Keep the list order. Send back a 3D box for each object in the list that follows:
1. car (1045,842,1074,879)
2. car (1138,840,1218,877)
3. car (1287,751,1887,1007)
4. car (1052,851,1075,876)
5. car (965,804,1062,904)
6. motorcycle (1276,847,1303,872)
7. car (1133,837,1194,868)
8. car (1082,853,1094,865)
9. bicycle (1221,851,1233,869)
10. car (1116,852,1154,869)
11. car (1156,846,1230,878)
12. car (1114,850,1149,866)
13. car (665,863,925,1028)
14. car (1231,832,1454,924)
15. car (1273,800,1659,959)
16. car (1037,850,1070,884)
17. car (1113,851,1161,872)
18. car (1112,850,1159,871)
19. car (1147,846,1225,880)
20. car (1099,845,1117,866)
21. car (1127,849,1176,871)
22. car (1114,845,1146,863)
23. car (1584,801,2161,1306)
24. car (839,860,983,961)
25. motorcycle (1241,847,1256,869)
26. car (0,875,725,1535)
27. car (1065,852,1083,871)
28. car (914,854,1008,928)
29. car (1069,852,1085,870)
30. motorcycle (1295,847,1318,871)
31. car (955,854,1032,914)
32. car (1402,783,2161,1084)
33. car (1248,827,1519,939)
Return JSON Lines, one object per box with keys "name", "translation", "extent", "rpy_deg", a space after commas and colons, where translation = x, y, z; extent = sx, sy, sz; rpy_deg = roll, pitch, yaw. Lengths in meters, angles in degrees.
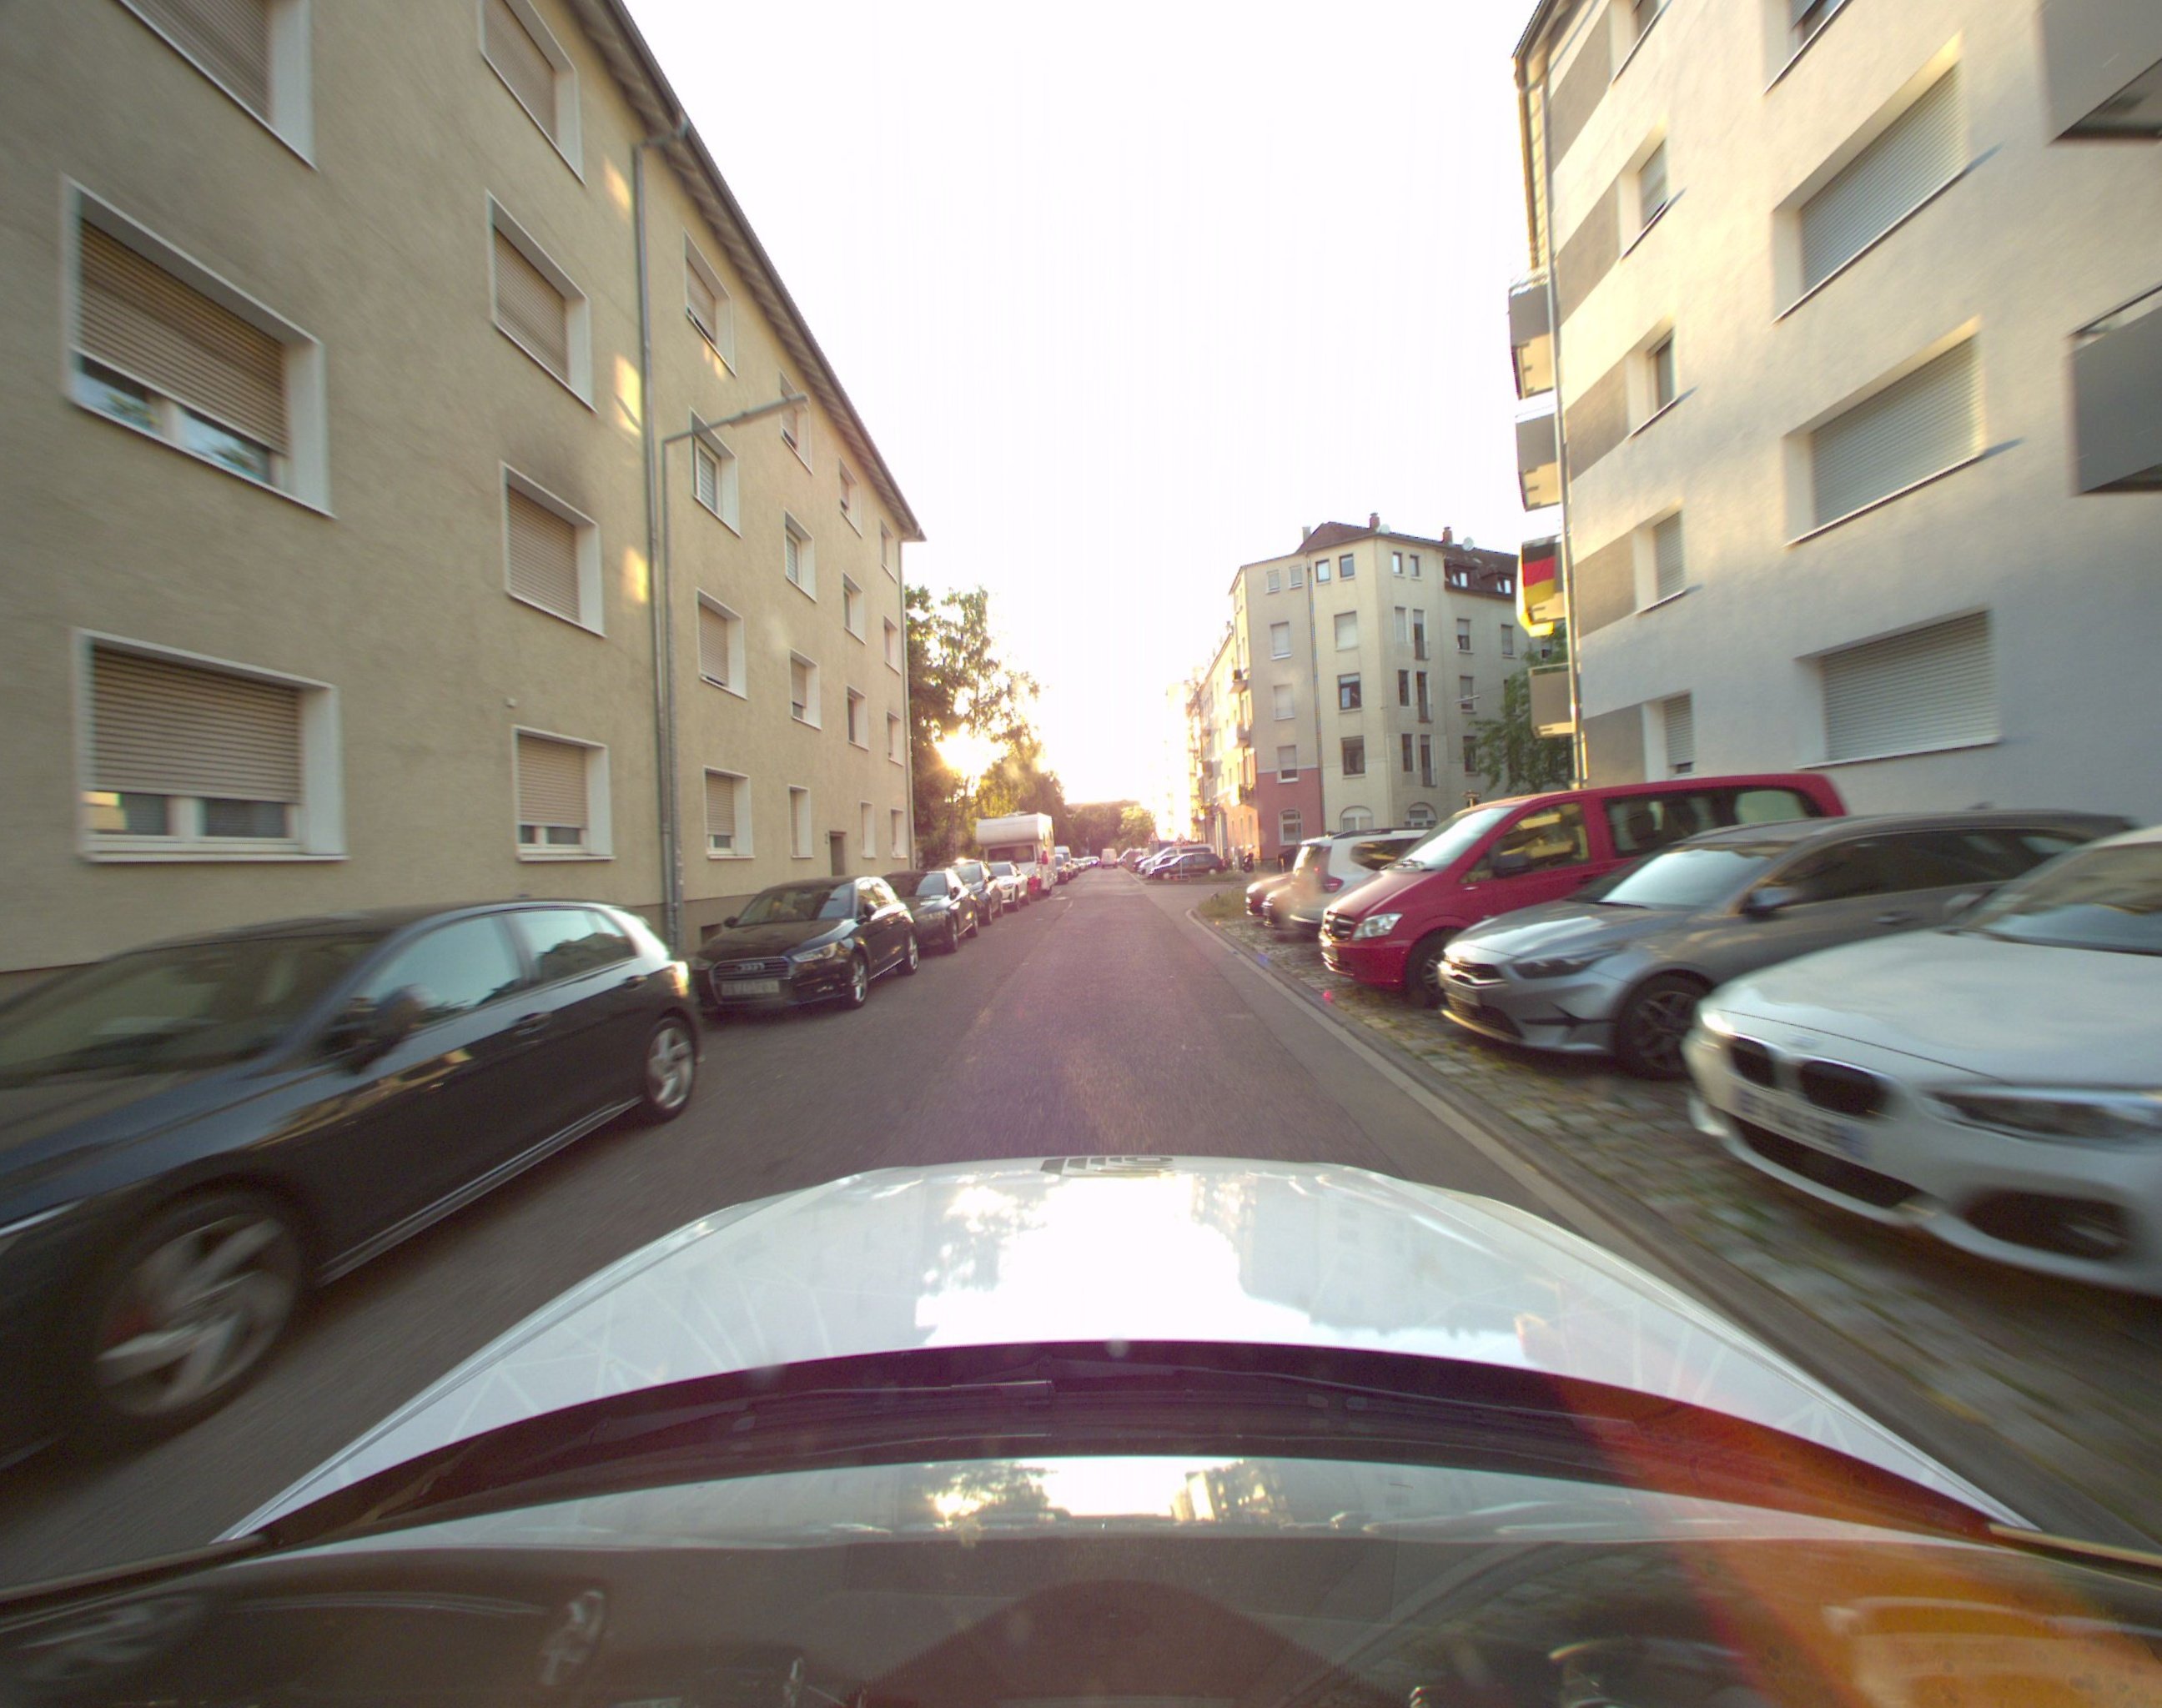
{"name": "car", "translation": [-1.520, 0.480, 59.752], "extent": [1.764, 2.445, 5.145], "rpy_deg": [-5, 0, 0]}
{"name": "car", "translation": [6.124, 0.264, 51.698], "extent": [4.796, 1.967, 1.739], "rpy_deg": [-4, 0, 1]}
{"name": "car", "translation": [4.763, 0.232, 8.296], "extent": [4.706, 1.909, 2.059], "rpy_deg": [-5, -1, 1]}
{"name": "car", "translation": [-1.405, 0.771, 65.994], "extent": [1.647, 1.830, 3.876], "rpy_deg": [-5, 0, 0]}
{"name": "car", "translation": [-2.432, -0.006, 32.151], "extent": [2.610, 3.268, 7.701], "rpy_deg": [-5, 0, 2]}
{"name": "motorcycle", "translation": [11.228, 0.286, 43.857], "extent": [0.512, 1.228, 1.993], "rpy_deg": [-3, 0, 42]}
{"name": "car", "translation": [5.811, -0.101, 57.840], "extent": [3.977, 2.013, 1.998], "rpy_deg": [-3, 0, -2]}
{"name": "car", "translation": [1.131, 0.772, 125.742], "extent": [1.647, 1.830, 3.876], "rpy_deg": [-5, 0, 0]}
{"name": "bicycle", "translation": [10.429, 0.422, 58.355], "extent": [0.515, 1.228, 1.982], "rpy_deg": [-3, 0, 2]}
{"name": "car", "translation": [5.920, 0.749, 89.629], "extent": [3.973, 1.530, 1.659], "rpy_deg": [-4, 0, 1]}
{"name": "car", "translation": [6.401, 0.460, 46.985], "extent": [3.973, 1.530, 1.659], "rpy_deg": [-4, 0, 1]}
{"name": "car", "translation": [5.803, 0.495, 93.794], "extent": [3.973, 1.530, 1.659], "rpy_deg": [-4, 0, 1]}
{"name": "car", "translation": [-3.127, 0.903, 9.769], "extent": [1.647, 1.434, 3.796], "rpy_deg": [-5, 0, 0]}
{"name": "car", "translation": [5.062, 0.454, 16.121], "extent": [3.798, 1.428, 1.635], "rpy_deg": [-5, -1, 1]}
{"name": "car", "translation": [5.028, 0.326, 11.111], "extent": [4.309, 1.637, 1.818], "rpy_deg": [-5, -1, 1]}
{"name": "car", "translation": [-1.590, 0.736, 48.629], "extent": [1.647, 1.830, 3.876], "rpy_deg": [-5, 0, 0]}
{"name": "car", "translation": [4.861, 0.664, 71.107], "extent": [3.973, 1.530, 1.659], "rpy_deg": [-4, 0, 1]}
{"name": "car", "translation": [4.862, 0.590, 73.076], "extent": [3.973, 1.530, 1.659], "rpy_deg": [-4, 0, 1]}
{"name": "car", "translation": [5.710, 0.508, 44.680], "extent": [3.973, 1.530, 1.659], "rpy_deg": [-4, 0, 1]}
{"name": "car", "translation": [3.614, 0.208, 111.527], "extent": [2.122, 2.717, 4.833], "rpy_deg": [-5, 0, 0]}
{"name": "car", "translation": [5.903, 0.507, 68.589], "extent": [3.973, 1.530, 1.659], "rpy_deg": [-4, 0, 1]}
{"name": "car", "translation": [7.593, -0.051, 127.635], "extent": [4.796, 2.408, 1.739], "rpy_deg": [-4, 0, 1]}
{"name": "car", "translation": [4.521, 0.513, 3.318], "extent": [3.863, 1.416, 1.636], "rpy_deg": [-5, -1, -1]}
{"name": "car", "translation": [-2.885, 0.897, 14.667], "extent": [1.647, 1.434, 3.876], "rpy_deg": [-5, 0, 0]}
{"name": "motorcycle", "translation": [9.838, 0.240, 47.830], "extent": [0.515, 1.228, 1.982], "rpy_deg": [-3, 0, 2]}
{"name": "car", "translation": [-3.337, 0.916, 3.569], "extent": [1.654, 1.434, 4.031], "rpy_deg": [-5, 0, 0]}
{"name": "car", "translation": [-0.726, 0.788, 84.311], "extent": [1.647, 1.830, 3.876], "rpy_deg": [-5, 0, 0]}
{"name": "car", "translation": [-2.898, 0.846, 20.470], "extent": [1.647, 1.564, 3.876], "rpy_deg": [-5, 0, 0]}
{"name": "car", "translation": [-0.416, 0.785, 89.105], "extent": [1.647, 1.830, 3.876], "rpy_deg": [-5, 0, 0]}
{"name": "motorcycle", "translation": [12.063, 0.246, 43.566], "extent": [0.512, 1.228, 1.994], "rpy_deg": [-3, 0, 34]}
{"name": "car", "translation": [-2.564, 0.832, 24.662], "extent": [1.646, 1.541, 3.878], "rpy_deg": [-5, 0, 2]}
{"name": "car", "translation": [4.662, 0.476, 5.669], "extent": [4.131, 1.471, 1.636], "rpy_deg": [-5, -1, 1]}
{"name": "car", "translation": [4.872, 0.463, 13.490], "extent": [3.798, 1.428, 1.635], "rpy_deg": [-5, -1, 1]}
